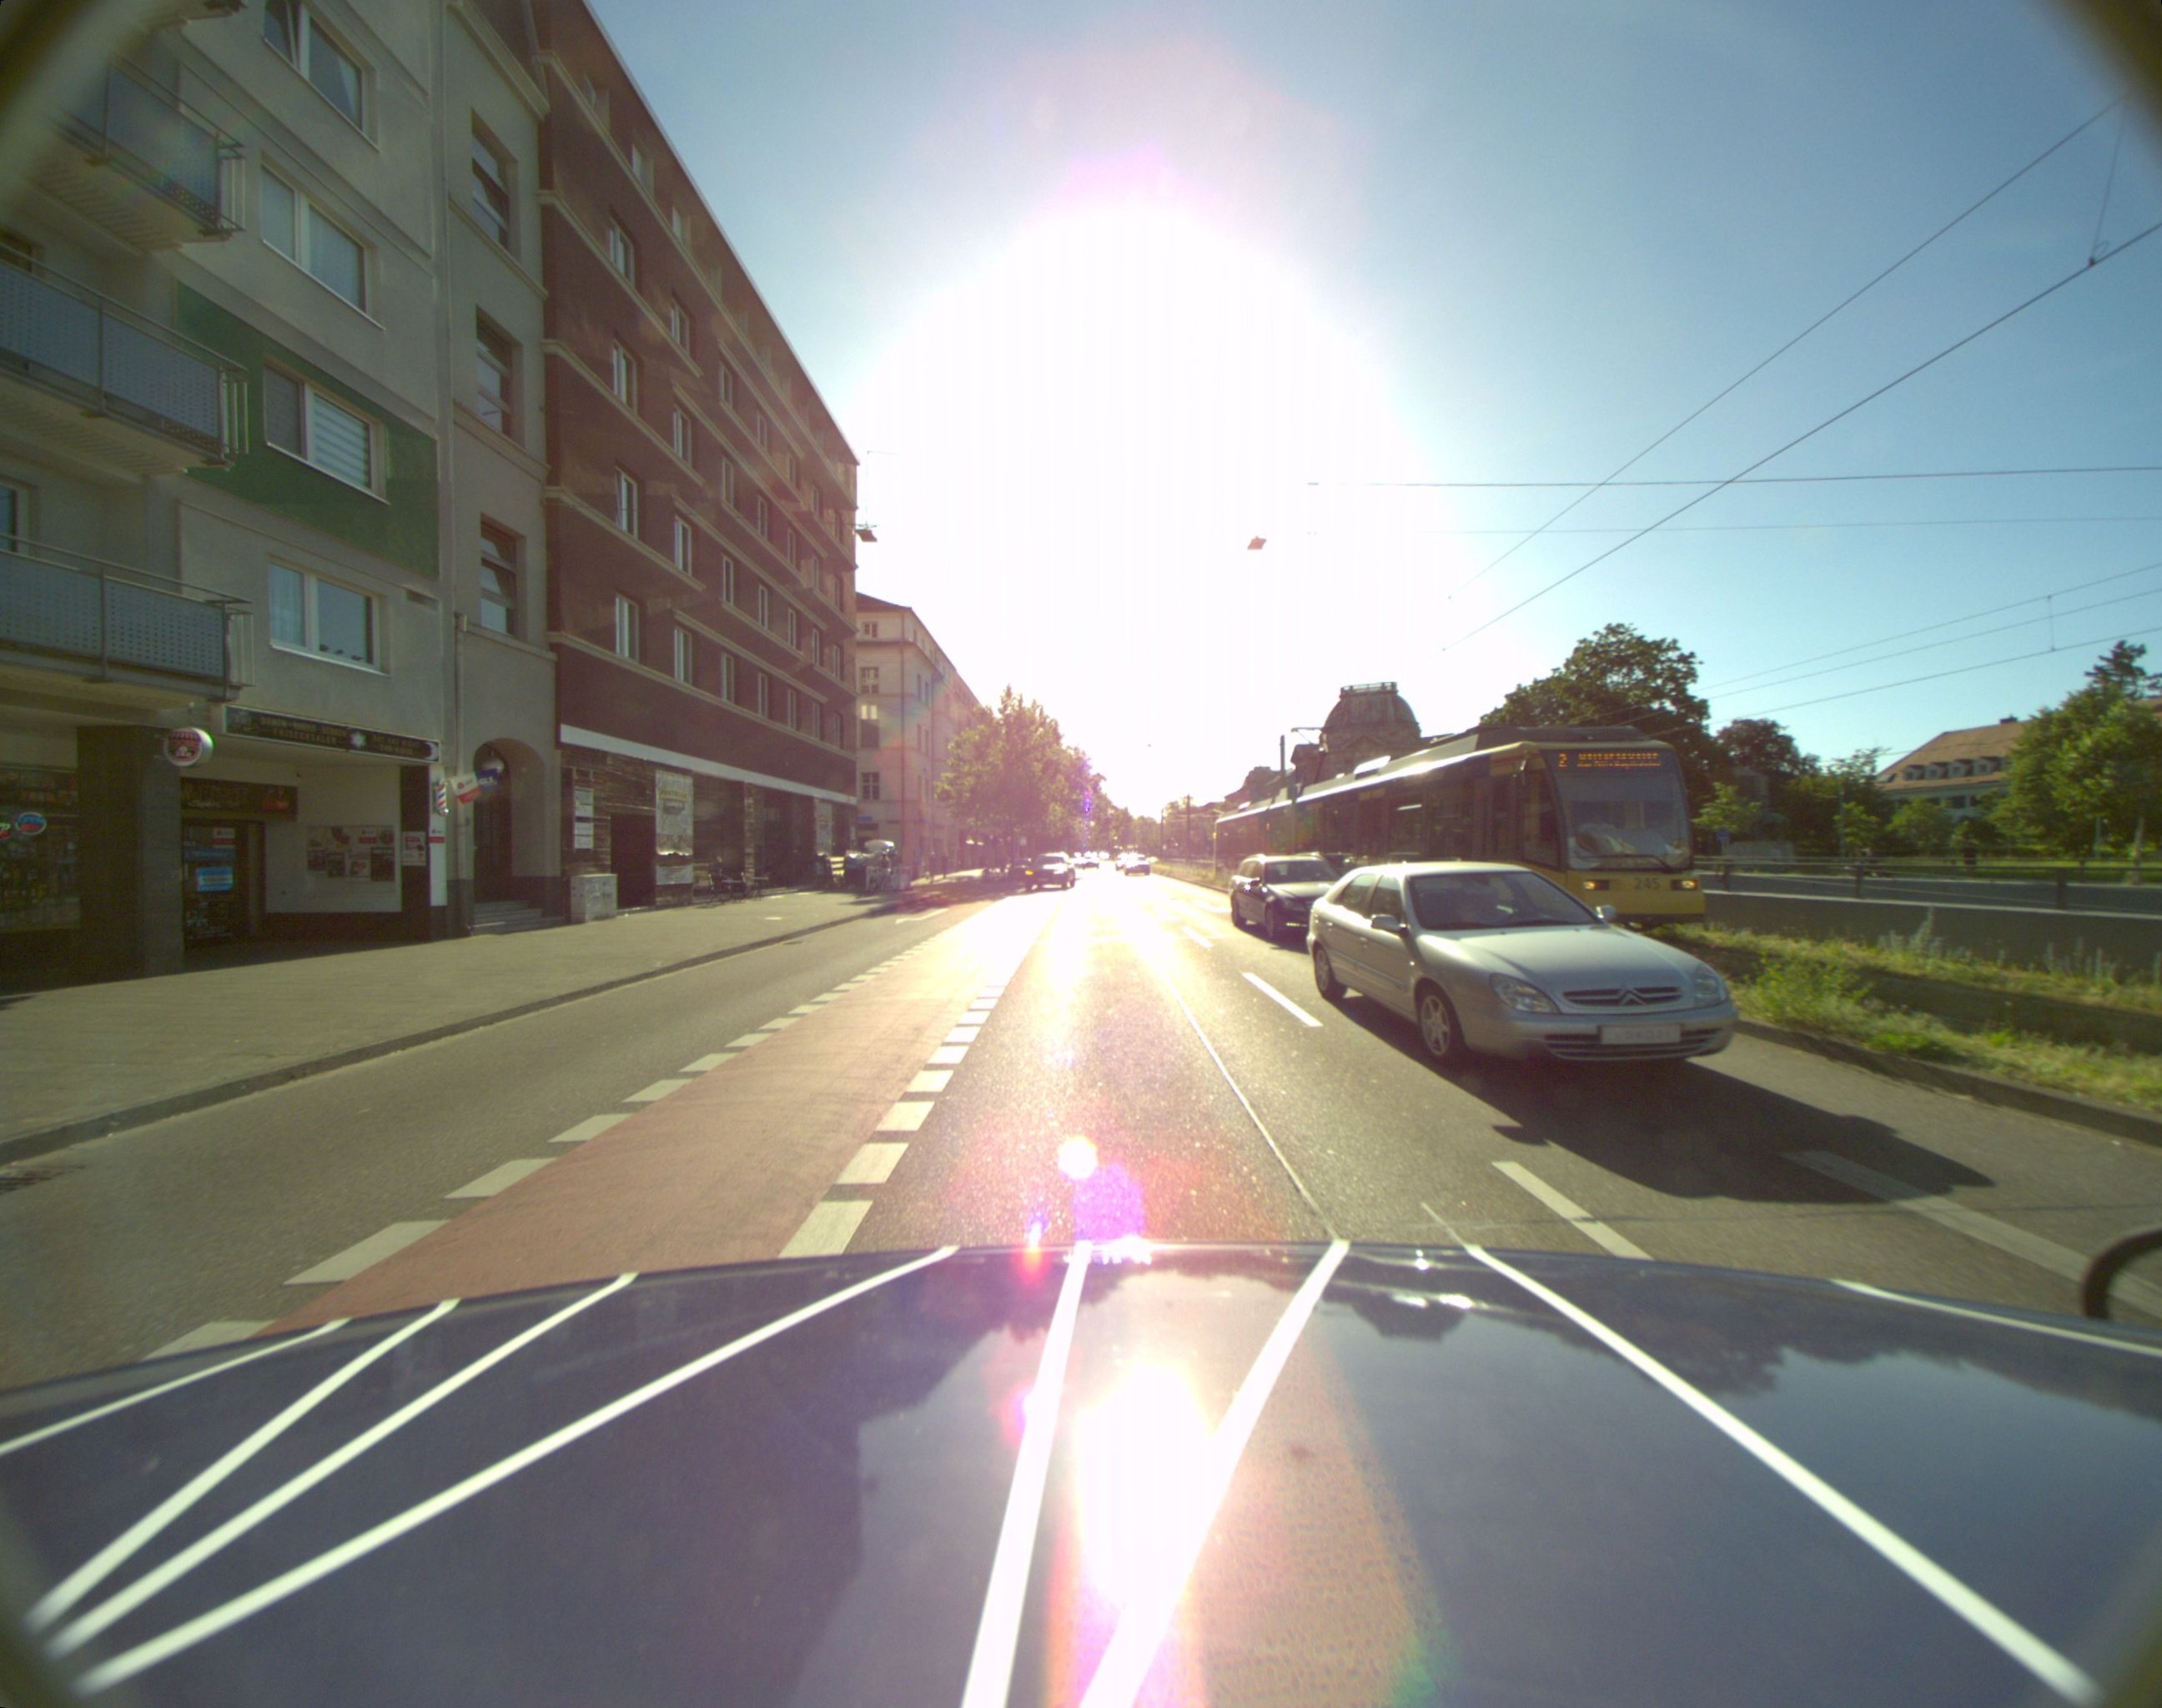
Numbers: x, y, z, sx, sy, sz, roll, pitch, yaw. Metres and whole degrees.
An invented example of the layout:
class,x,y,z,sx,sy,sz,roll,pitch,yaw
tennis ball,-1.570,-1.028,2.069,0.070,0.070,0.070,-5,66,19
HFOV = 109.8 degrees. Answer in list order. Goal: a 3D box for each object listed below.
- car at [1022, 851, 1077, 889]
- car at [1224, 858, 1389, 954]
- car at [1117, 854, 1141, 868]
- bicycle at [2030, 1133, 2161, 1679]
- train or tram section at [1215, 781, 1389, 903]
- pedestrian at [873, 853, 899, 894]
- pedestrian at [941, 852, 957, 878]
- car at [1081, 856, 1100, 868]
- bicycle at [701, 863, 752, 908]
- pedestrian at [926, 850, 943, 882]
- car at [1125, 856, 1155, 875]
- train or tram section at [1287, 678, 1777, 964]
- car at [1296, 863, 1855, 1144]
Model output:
class,x,y,z,sx,sy,sz,roll,pitch,yaw
car,-1.428,0.724,36.091,1.900,1.677,4.120,-1,0,8
car,4.023,0.852,14.309,1.891,1.421,4.132,-2,0,1
car,4.436,0.631,70.997,1.986,1.284,4.327,-1,0,1
bicycle,2.701,1.162,0.877,0.631,0.934,1.903,-3,1,-20
train or tram section,7.815,-0.331,29.507,2.956,3.591,13.635,-1,0,1
pedestrian,-7.852,0.772,30.666,0.772,1.641,0.672,-1,1,13
pedestrian,-8.607,0.697,49.544,0.868,1.639,0.981,-1,1,-21
car,1.045,0.843,81.017,1.986,1.284,4.393,-1,0,1
bicycle,-10.577,0.925,22.735,0.598,1.235,1.932,0,1,1
pedestrian,-8.745,0.724,45.366,0.867,1.873,1.221,-1,0,-16
car,4.212,0.815,54.921,1.858,1.284,4.095,-1,0,1
train or tram section,7.642,-0.405,16.463,2.956,3.663,13.185,-1,0,1
car,3.378,0.876,6.354,1.998,1.421,4.132,-2,1,1
